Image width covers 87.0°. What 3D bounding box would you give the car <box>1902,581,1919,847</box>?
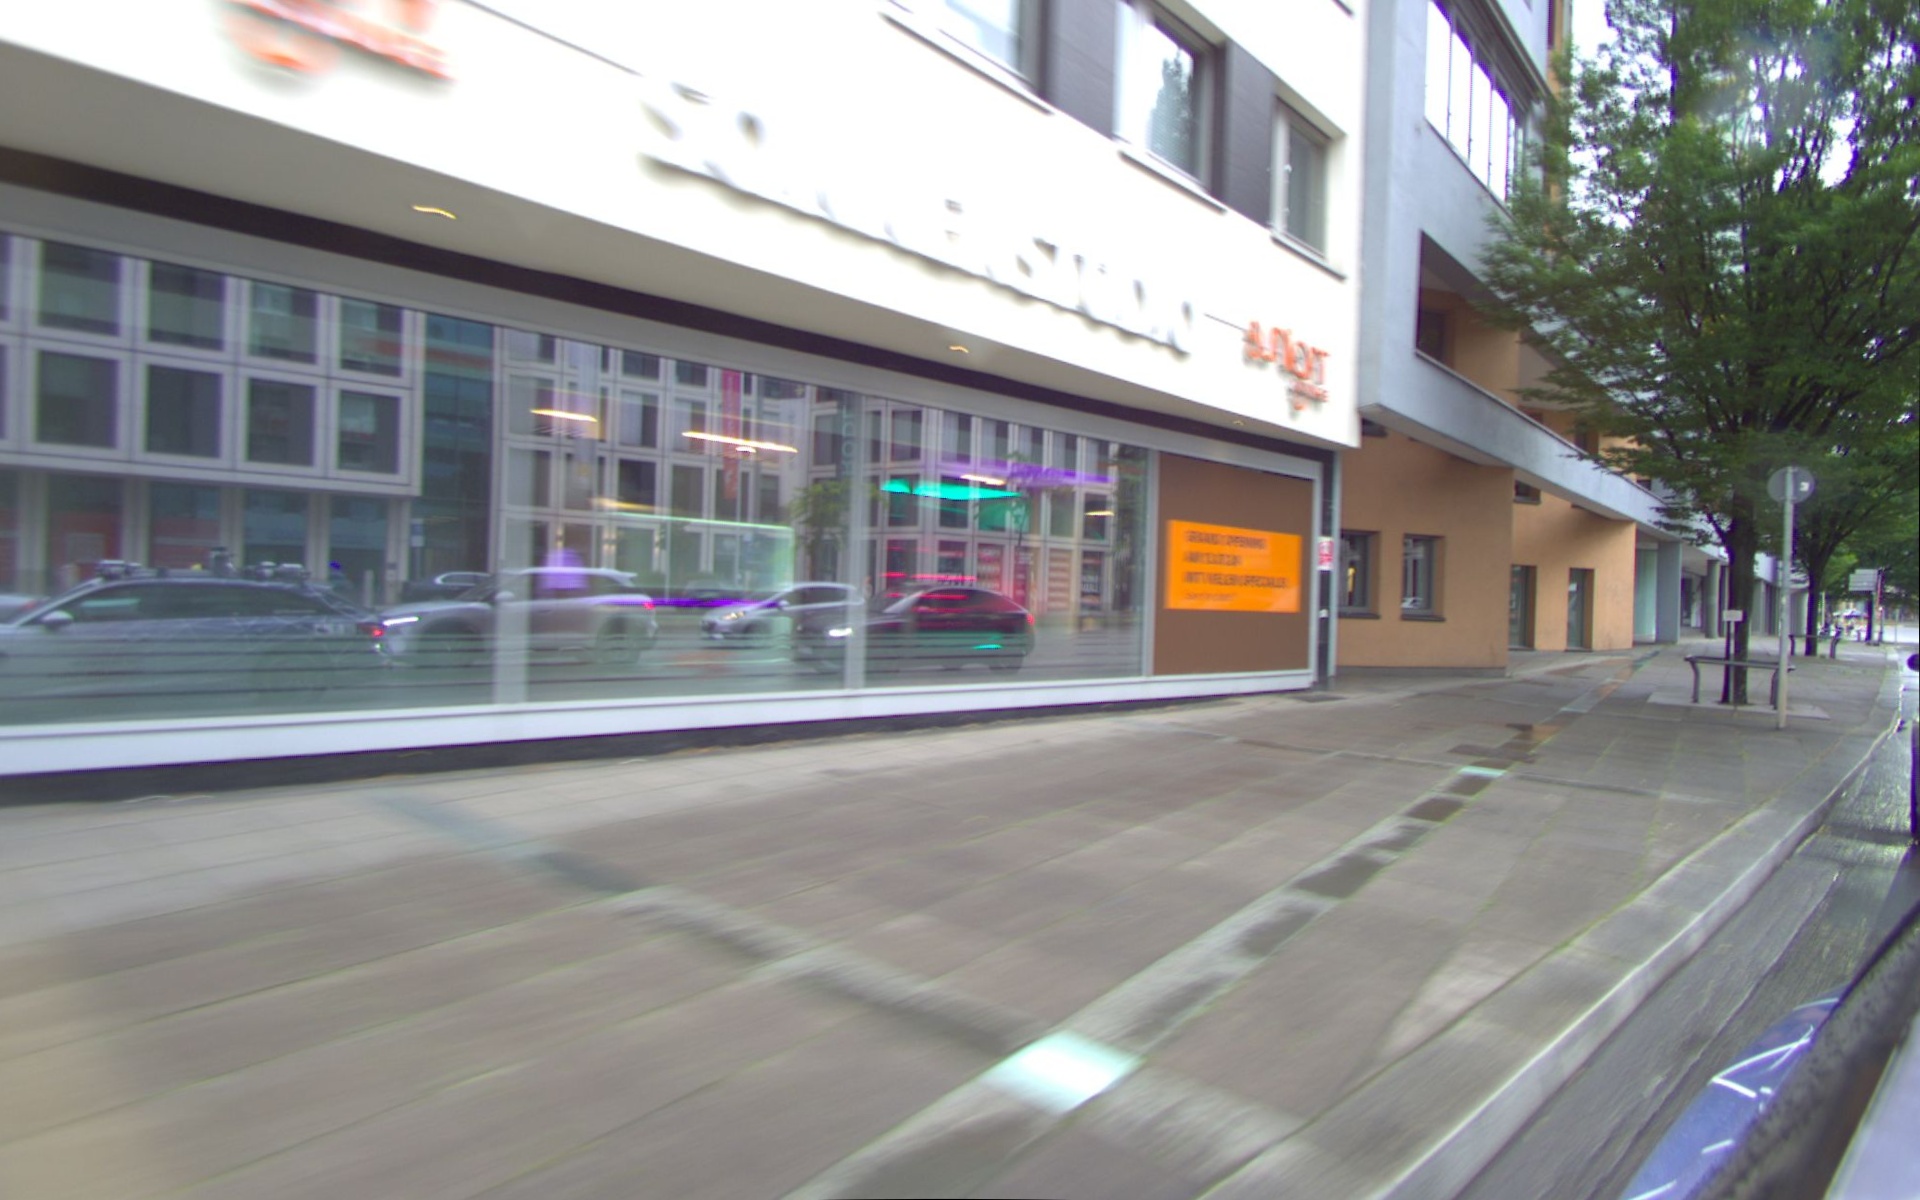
[{"bbox_3d":[7.860,0.664,6.639,4.308,1.571,1.802,0,0,-38],"label":"car"}]

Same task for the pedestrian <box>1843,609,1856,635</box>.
[{"bbox_3d":[61.701,1.544,70.195,0.639,1.805,0.866,0,-2,44],"label":"pedestrian"}]

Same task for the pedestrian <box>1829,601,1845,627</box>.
[{"bbox_3d":[60.618,0.954,69.952,0.791,1.805,0.881,0,-2,41],"label":"pedestrian"}]

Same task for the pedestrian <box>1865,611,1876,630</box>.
[{"bbox_3d":[78.432,1.782,87.192,0.650,1.618,1.044,0,0,38],"label":"pedestrian"}]
